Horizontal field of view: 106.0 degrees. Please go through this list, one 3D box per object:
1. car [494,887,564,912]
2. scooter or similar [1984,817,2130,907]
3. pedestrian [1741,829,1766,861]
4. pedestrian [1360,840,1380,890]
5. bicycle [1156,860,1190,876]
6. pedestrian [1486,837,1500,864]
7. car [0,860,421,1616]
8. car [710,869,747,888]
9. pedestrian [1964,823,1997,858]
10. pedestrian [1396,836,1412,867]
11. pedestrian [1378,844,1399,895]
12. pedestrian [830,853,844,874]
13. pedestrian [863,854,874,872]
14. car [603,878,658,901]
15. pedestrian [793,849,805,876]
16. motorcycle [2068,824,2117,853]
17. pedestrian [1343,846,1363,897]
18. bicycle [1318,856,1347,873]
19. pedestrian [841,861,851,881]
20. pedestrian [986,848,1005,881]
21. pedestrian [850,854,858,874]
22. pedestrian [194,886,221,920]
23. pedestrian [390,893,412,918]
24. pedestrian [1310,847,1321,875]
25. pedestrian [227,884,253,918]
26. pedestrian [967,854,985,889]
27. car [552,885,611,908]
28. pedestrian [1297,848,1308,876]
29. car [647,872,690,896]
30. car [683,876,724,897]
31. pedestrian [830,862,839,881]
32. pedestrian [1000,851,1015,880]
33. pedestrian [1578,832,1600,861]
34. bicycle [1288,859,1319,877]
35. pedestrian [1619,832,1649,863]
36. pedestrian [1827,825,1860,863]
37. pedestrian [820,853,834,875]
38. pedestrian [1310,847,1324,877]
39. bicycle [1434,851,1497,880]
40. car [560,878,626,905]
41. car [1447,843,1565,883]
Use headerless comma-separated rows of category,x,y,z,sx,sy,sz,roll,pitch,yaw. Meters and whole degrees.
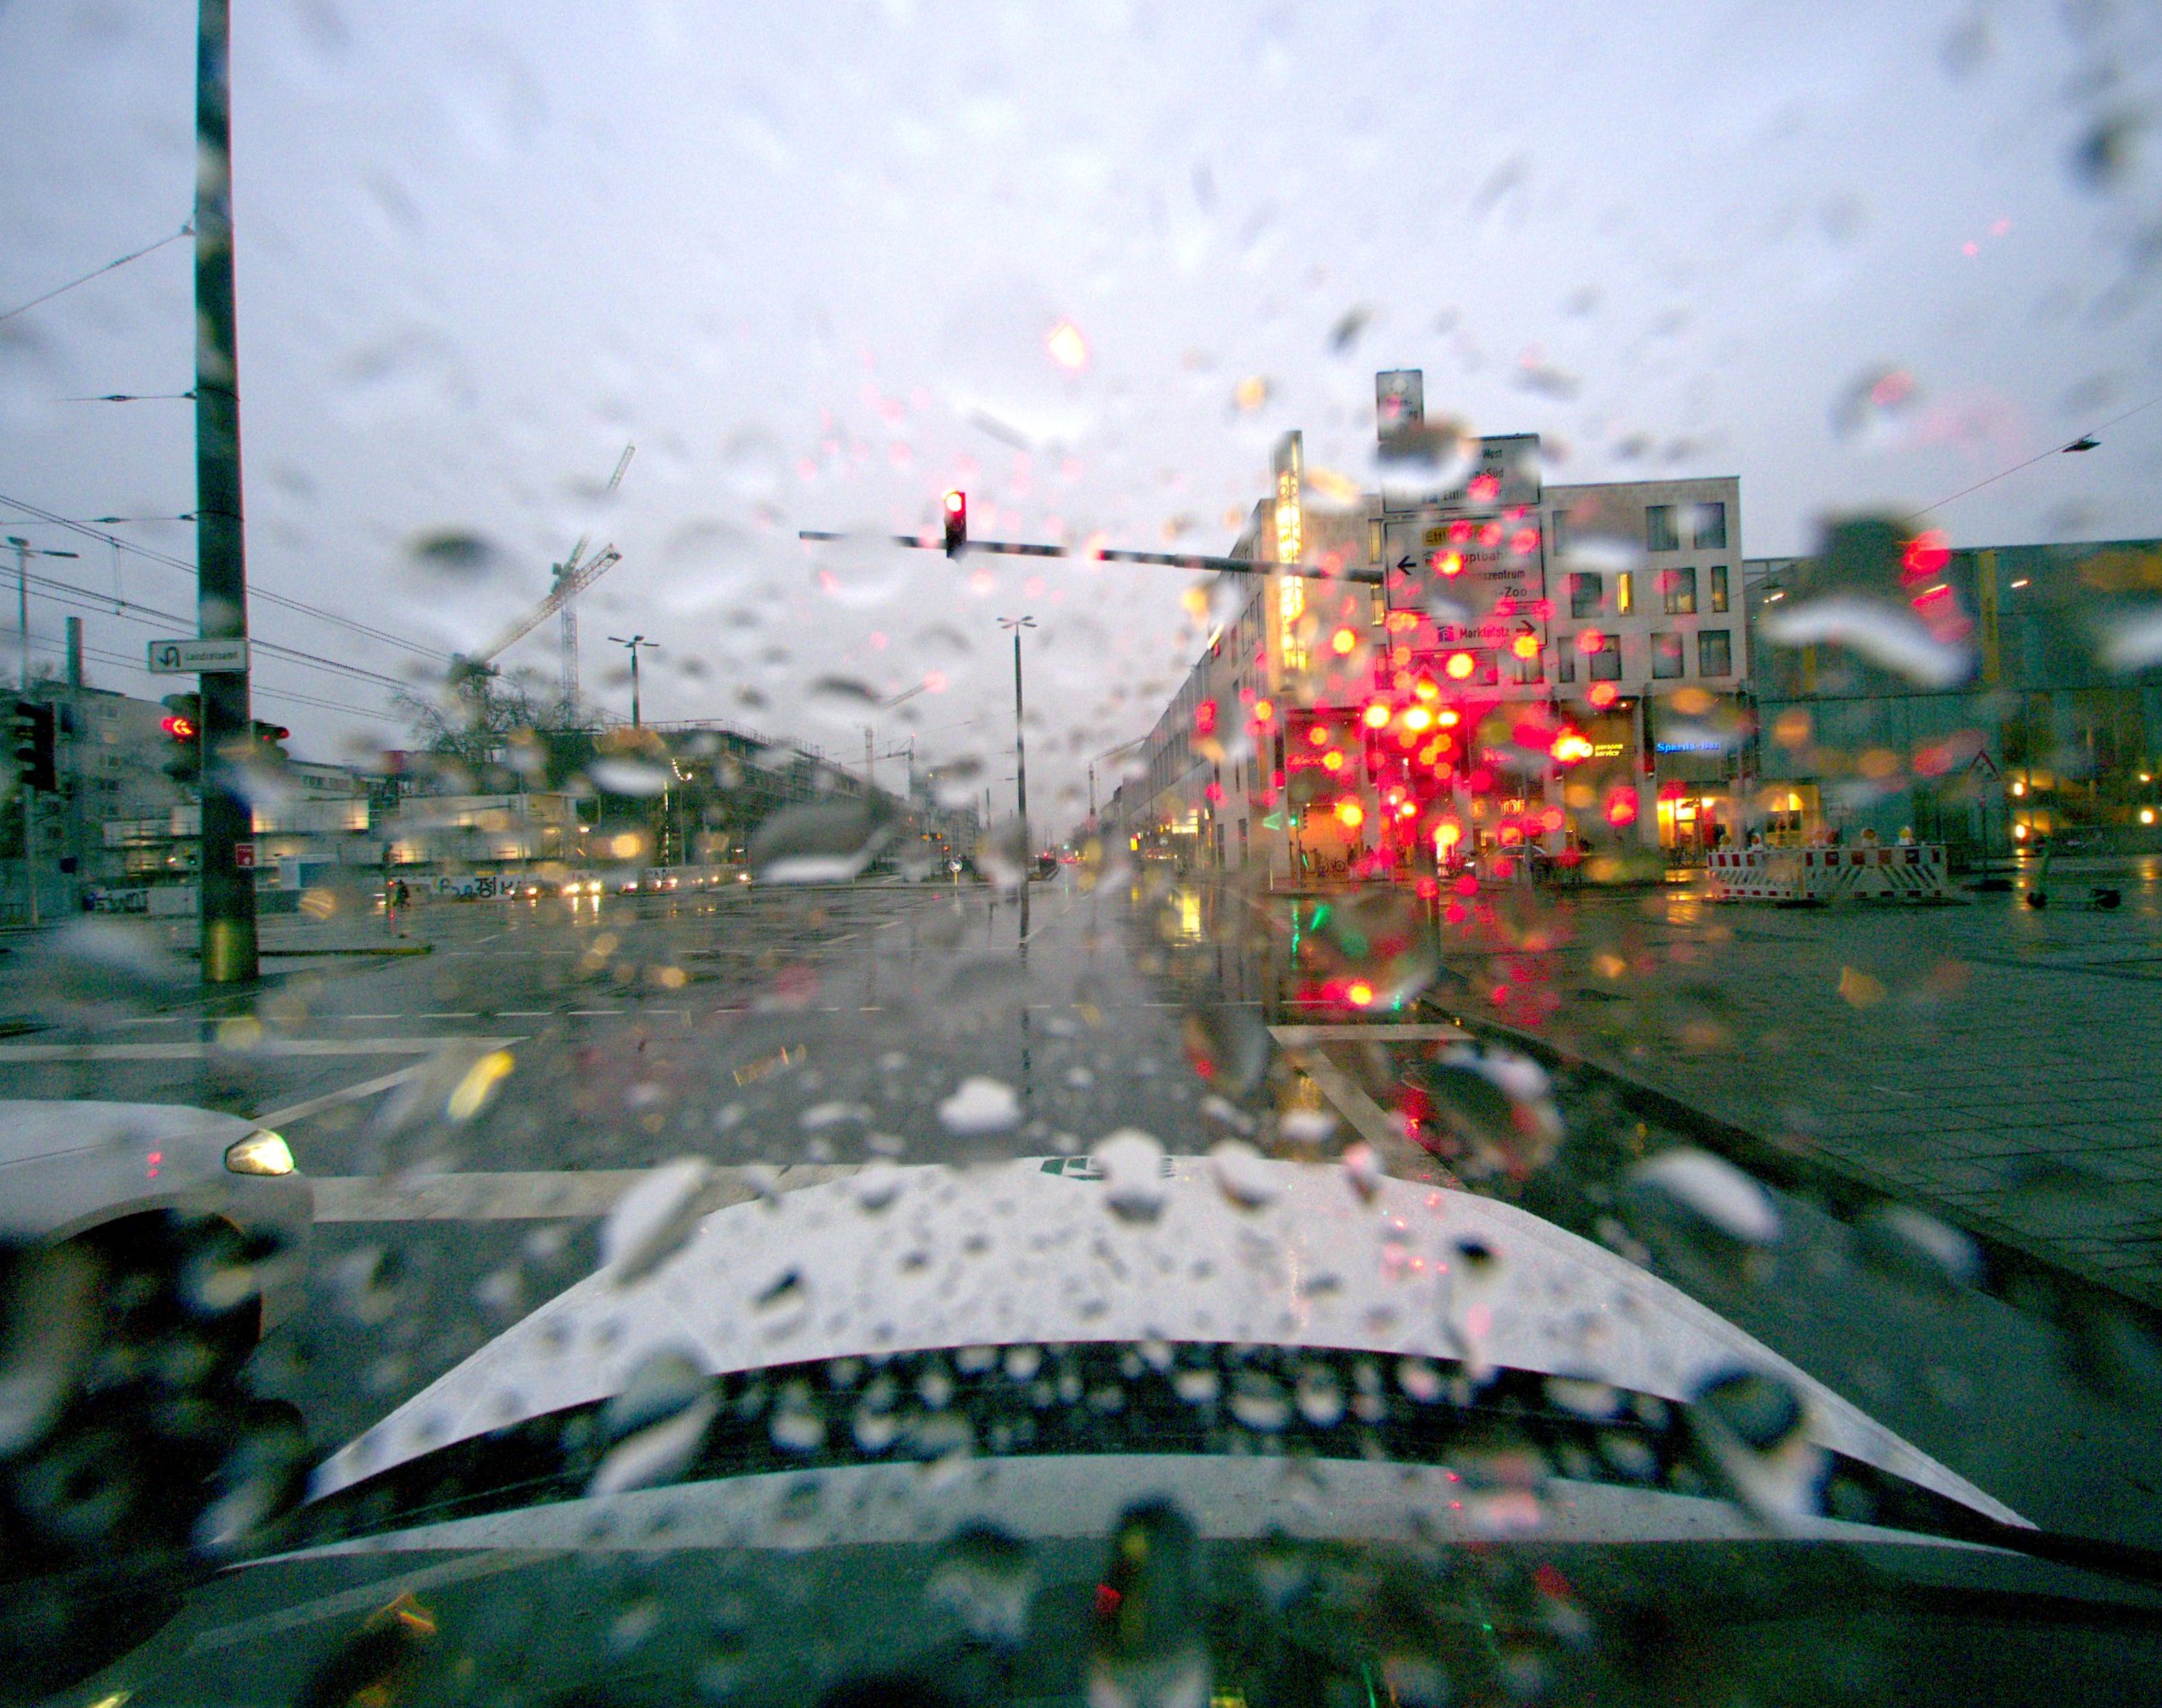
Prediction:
car,-38.597,3.155,57.062,1.986,1.530,4.001,-2,0,2
scooter or similar,15.685,0.118,13.144,0.590,1.352,1.495,0,0,2
pedestrian,35.893,-0.461,43.475,0.737,1.684,0.783,0,-1,8
pedestrian,14.042,0.531,39.626,0.687,2.441,0.758,0,-1,1
bicycle,6.968,1.058,61.564,2.434,1.154,0.674,-2,-1,0
pedestrian,27.081,-0.230,53.543,0.728,1.718,0.743,-3,-1,29
car,-3.187,0.792,0.331,2.010,1.487,4.561,-2,0,1
car,-35.237,2.419,81.487,1.988,1.790,3.997,0,-1,-2
pedestrian,44.080,-0.655,39.936,0.737,1.684,0.783,0,-1,8
pedestrian,21.157,-0.168,53.357,0.841,2.013,0.700,-2,0,10
pedestrian,14.935,0.750,39.593,0.691,2.448,0.792,0,-1,1
pedestrian,-23.754,0.953,79.300,0.939,2.014,1.094,0,-1,0
pedestrian,-24.056,1.060,92.172,0.940,2.014,1.092,0,-1,-5
car,-34.278,2.645,62.077,2.074,1.530,4.603,-2,0,-7
pedestrian,-24.074,0.733,69.508,0.762,2.323,0.763,0,-2,1
motorcycle,48.317,-0.754,38.915,1.482,1.352,0.595,0,0,5
pedestrian,13.156,0.860,39.463,0.712,2.441,0.758,0,-1,1
bicycle,15.620,0.659,50.590,1.642,1.070,0.524,0,-1,-2
pedestrian,-22.661,1.616,78.489,0.762,1.898,0.763,0,-2,1
pedestrian,-4.898,0.600,46.752,0.826,1.831,0.778,0,-1,-29
pedestrian,-22.743,1.019,81.521,0.569,1.968,0.664,1,-1,-4
pedestrian,-52.527,2.957,48.973,0.861,2.014,0.624,0,-1,-6
pedestrian,-39.992,3.028,47.893,0.723,1.388,0.727,-1,-1,14
pedestrian,13.938,0.421,48.402,0.480,1.663,0.460,-3,-1,32
pedestrian,-51.389,2.860,49.754,0.781,2.014,0.748,0,-1,6
pedestrian,-6.138,1.026,47.663,0.776,2.014,0.732,-1,-1,44
car,-39.003,3.303,63.656,1.986,1.530,4.001,-2,0,2
pedestrian,13.568,0.497,49.902,0.596,1.745,0.526,-1,-1,10
car,-34.608,2.484,68.499,1.862,1.828,3.993,0,-1,-5
car,-35.166,3.040,75.924,1.988,1.790,3.997,0,-1,-2
pedestrian,-23.577,1.674,77.783,0.696,1.881,0.553,0,-1,1
pedestrian,-4.347,0.689,48.212,0.605,1.686,0.581,-1,-1,44
pedestrian,29.369,-0.430,47.093,0.890,1.684,0.528,-2,-1,1
bicycle,13.801,0.851,50.514,1.764,1.070,0.524,0,-1,-5
pedestrian,29.563,-0.342,43.530,1.026,1.684,0.824,0,-1,1
pedestrian,34.328,-0.461,36.672,0.737,1.684,0.783,0,-1,8
pedestrian,-23.898,0.933,76.690,0.940,2.014,1.093,0,-1,-2
pedestrian,14.037,0.480,48.432,0.634,1.709,0.574,-2,-1,1
bicycle,19.250,0.582,40.784,2.705,1.359,0.957,-2,-1,-2
car,-33.665,2.579,56.305,1.986,1.657,4.001,-2,0,2
car,17.963,0.371,34.571,3.970,1.618,2.001,0,-1,3
